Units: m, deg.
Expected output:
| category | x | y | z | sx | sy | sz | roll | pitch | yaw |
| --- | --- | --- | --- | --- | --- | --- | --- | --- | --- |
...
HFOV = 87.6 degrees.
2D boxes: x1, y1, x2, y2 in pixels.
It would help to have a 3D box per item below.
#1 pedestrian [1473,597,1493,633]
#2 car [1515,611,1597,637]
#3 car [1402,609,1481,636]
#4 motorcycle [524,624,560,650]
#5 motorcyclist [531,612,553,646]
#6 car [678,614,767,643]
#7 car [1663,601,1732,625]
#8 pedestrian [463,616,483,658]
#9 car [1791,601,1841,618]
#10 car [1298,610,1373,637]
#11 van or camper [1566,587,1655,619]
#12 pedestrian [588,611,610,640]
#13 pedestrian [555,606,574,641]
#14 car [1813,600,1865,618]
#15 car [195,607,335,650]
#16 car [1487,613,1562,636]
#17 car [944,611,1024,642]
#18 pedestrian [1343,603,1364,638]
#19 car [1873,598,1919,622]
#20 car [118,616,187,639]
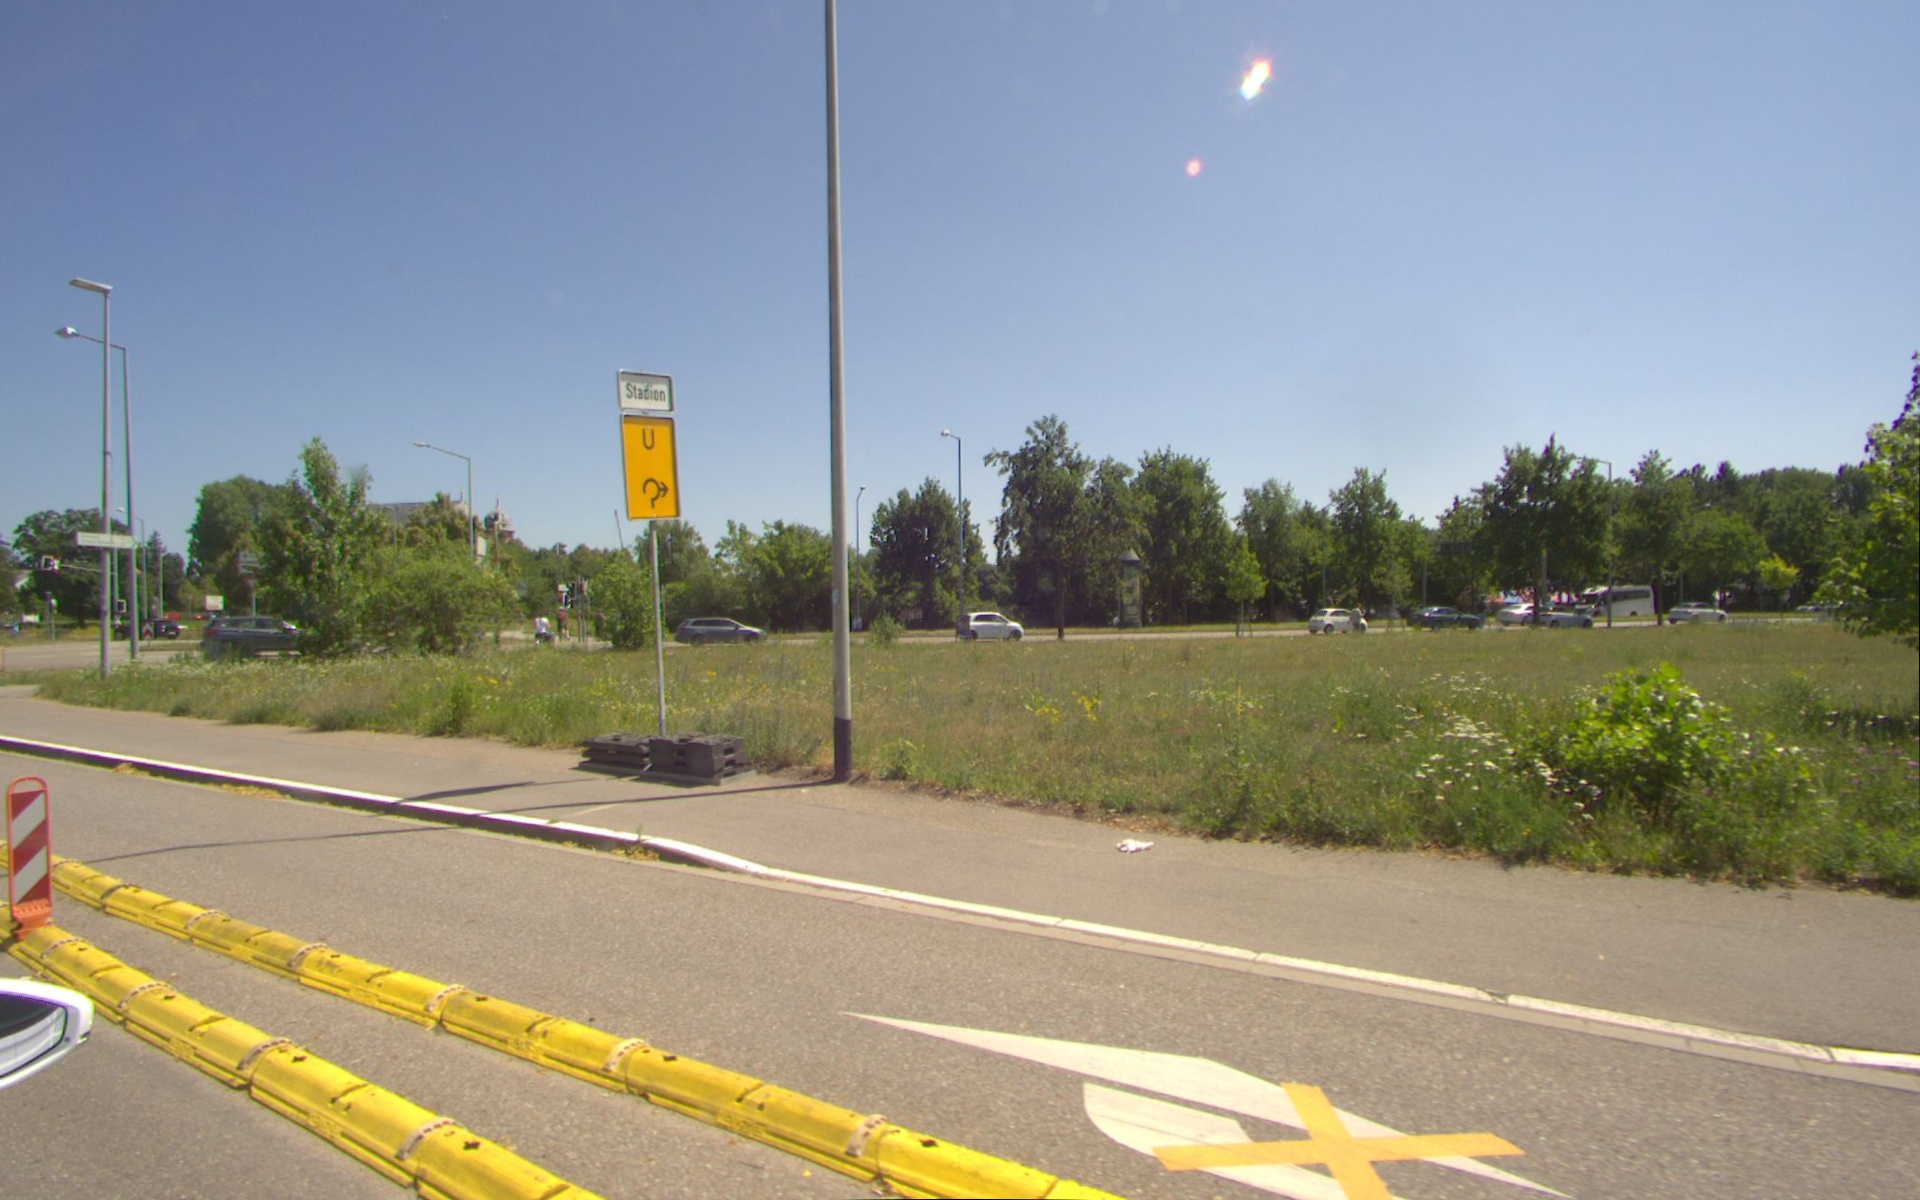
| category | x | y | z | sx | sy | sz | roll | pitch | yaw |
| --- | --- | --- | --- | --- | --- | --- | --- | --- | --- |
| pedestrian | 25.688 | 0.740 | 49.171 | 0.724 | 1.712 | 0.497 | 0 | -1 | -18 |
| car | 36.216 | 1.452 | 60.923 | 3.999 | 1.524 | 1.999 | 0 | -1 | -12 |
| car | 29.772 | 1.409 | 61.898 | 4.329 | 1.572 | 1.738 | 1 | -2 | -15 |
| motorcycle | -16.334 | 1.425 | 39.152 | 0.619 | 0.982 | 1.709 | 0 | -1 | 3 |
| motorcyclist | -16.359 | 1.134 | 39.197 | 0.570 | 1.306 | 0.615 | 0 | -1 | 3 |
| car | -11.646 | 1.390 | 49.114 | 4.131 | 1.408 | 1.899 | 0 | -1 | -15 |
| car | 50.026 | 0.894 | 67.932 | 3.929 | 1.572 | 1.738 | 0 | -1 | -16 |
| pedestrian | -18.757 | 1.417 | 38.567 | 0.506 | 1.583 | 0.496 | -1 | -1 | 32 |
| car | 80.689 | 0.926 | 94.419 | 3.929 | 1.572 | 1.738 | 0 | -1 | -16 |
| car | 22.326 | 1.385 | 59.587 | 3.929 | 1.572 | 1.738 | 0 | -1 | -16 |
| van or camper | 56.596 | 0.301 | 87.103 | 7.383 | 2.728 | 2.508 | 0 | -1 | -20 |
| pedestrian | -19.937 | 1.388 | 55.291 | 0.811 | 1.583 | 0.791 | -1 | -1 | 33 |
| pedestrian | -21.652 | 1.288 | 54.827 | 0.726 | 1.894 | 0.648 | -1 | -1 | 33 |
| car | 79.522 | 0.828 | 90.585 | 3.929 | 1.572 | 1.738 | 0 | -1 | -16 |
| car | -27.753 | 1.120 | 40.061 | 4.402 | 1.616 | 1.982 | 1 | -2 | -43 |
| car | 37.973 | 1.647 | 67.396 | 4.559 | 1.572 | 1.738 | 0 | -1 | -16 |
| car | 1.270 | 1.409 | 53.537 | 3.929 | 1.572 | 1.738 | 0 | -1 | -16 |
| pedestrian | 18.194 | 0.945 | 46.303 | 0.724 | 1.583 | 0.497 | 0 | -1 | -18 |
| car | 65.616 | 0.702 | 69.336 | 3.929 | 1.572 | 1.738 | 0 | -1 | -16 |
| car | -61.907 | 2.104 | 76.827 | 4.122 | 1.695 | 1.947 | -1 | 0 | 12 |
